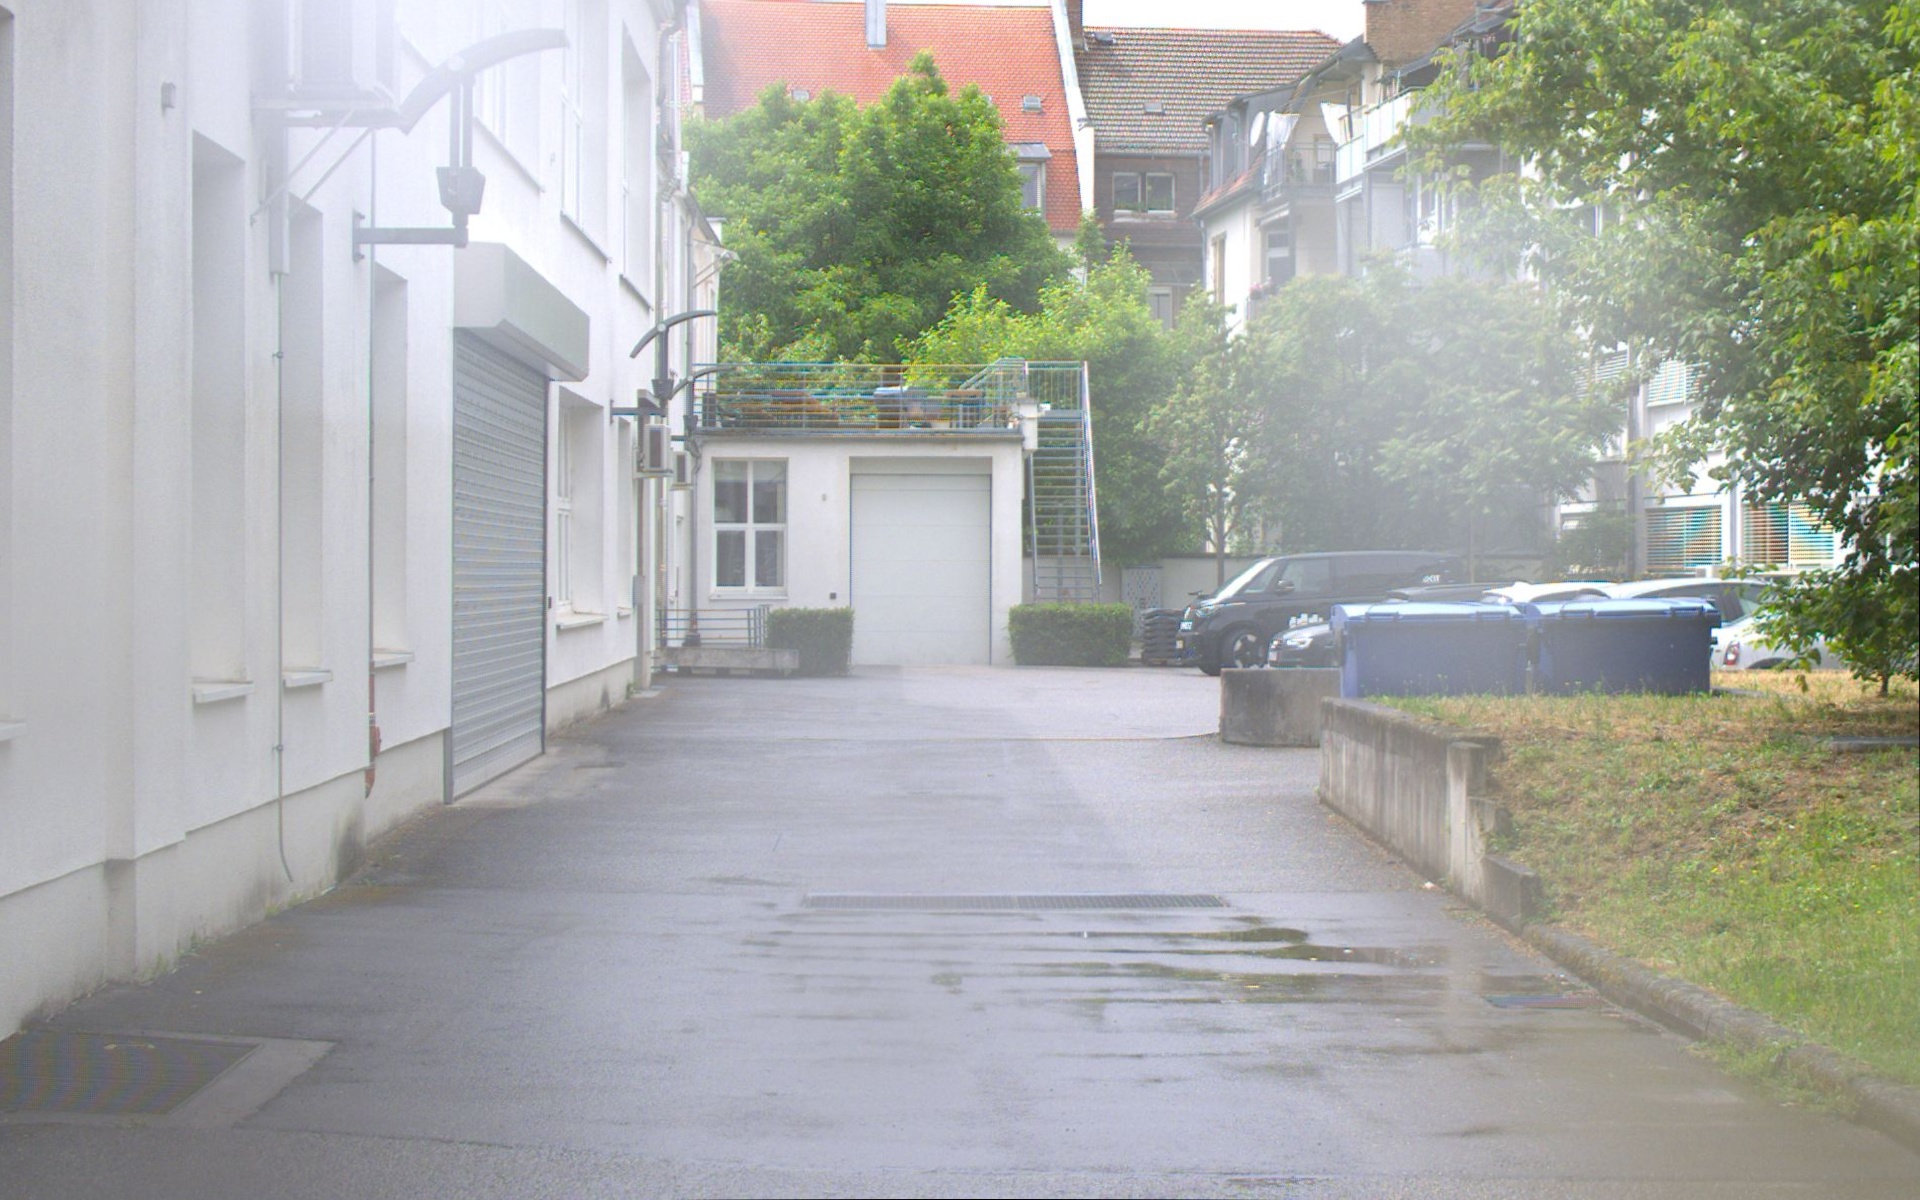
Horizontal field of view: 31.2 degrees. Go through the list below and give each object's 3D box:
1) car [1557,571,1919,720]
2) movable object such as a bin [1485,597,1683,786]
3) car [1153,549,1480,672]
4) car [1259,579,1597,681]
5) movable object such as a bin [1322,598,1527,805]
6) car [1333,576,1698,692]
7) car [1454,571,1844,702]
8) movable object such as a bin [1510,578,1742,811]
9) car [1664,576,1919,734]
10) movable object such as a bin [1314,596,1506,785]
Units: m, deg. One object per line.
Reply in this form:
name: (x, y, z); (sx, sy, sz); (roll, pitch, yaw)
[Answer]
car: (8.294, 0.449, 34.978); (4.079, 1.453, 1.668); (0, 0, -5)
movable object such as a bin: (4.528, 0.654, 25.031); (1.229, 1.313, 1.056); (0, 1, -2)
car: (5.552, 0.144, 53.846); (4.708, 1.827, 2.111); (-1, 1, -8)
car: (6.517, 0.402, 48.100); (4.352, 1.344, 1.861); (0, 1, -8)
movable object such as a bin: (3.129, 0.673, 23.286); (1.174, 1.313, 1.056); (2, 1, -2)
car: (6.996, 0.415, 43.525); (4.169, 1.396, 1.940); (-1, 0, -8)
car: (8.005, 0.404, 40.150); (4.097, 1.450, 1.833); (-1, 1, -5)
movable object such as a bin: (4.490, 0.621, 23.271); (1.275, 1.478, 1.102); (2, 1, -2)
car: (8.734, 0.466, 31.861); (3.986, 1.350, 1.791); (-2, 1, -2)
movable object such as a bin: (3.260, 0.644, 25.006); (1.229, 1.313, 1.056); (0, 1, -2)
